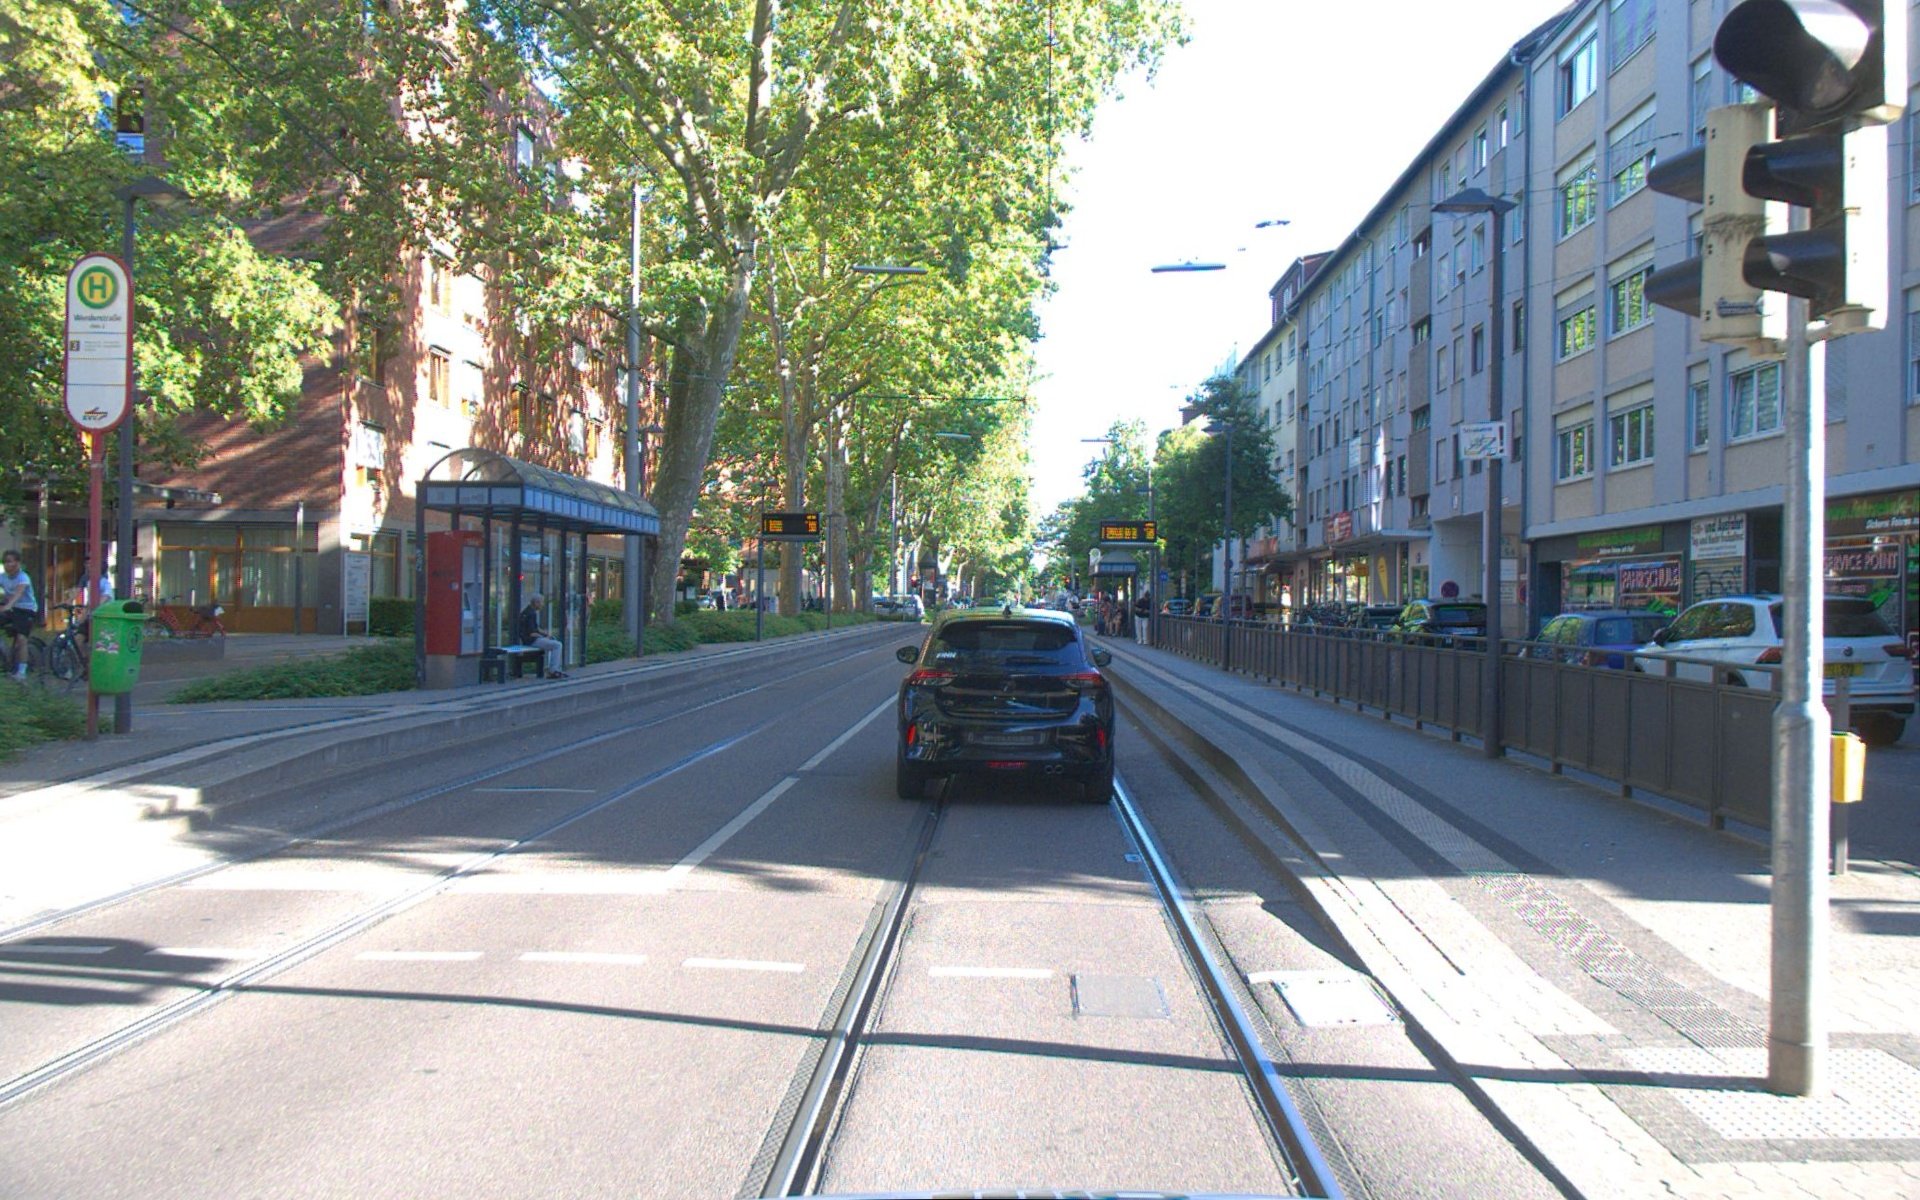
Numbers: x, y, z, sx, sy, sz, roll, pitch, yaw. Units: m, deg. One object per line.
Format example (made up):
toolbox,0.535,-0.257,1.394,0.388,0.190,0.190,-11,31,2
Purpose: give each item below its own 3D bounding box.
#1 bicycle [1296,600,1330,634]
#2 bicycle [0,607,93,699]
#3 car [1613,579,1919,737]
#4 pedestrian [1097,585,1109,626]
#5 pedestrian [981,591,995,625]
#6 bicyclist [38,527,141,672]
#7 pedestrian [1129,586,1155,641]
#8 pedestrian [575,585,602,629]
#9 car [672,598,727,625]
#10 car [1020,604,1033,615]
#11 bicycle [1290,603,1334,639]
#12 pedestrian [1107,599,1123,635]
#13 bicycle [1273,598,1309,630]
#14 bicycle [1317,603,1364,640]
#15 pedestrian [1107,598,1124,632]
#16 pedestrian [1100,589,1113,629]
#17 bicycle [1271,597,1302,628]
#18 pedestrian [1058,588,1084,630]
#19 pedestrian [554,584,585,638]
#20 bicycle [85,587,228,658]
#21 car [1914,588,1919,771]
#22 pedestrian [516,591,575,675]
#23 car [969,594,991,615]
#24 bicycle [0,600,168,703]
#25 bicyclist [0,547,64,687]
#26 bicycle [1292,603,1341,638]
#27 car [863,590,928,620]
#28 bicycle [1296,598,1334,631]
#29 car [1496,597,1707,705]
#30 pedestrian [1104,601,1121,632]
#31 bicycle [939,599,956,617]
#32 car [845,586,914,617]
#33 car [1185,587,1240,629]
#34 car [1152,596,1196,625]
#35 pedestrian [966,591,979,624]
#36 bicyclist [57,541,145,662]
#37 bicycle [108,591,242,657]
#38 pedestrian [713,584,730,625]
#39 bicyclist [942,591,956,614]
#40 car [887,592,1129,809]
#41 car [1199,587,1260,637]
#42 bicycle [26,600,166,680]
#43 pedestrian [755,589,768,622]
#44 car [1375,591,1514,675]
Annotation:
bicycle,12.618,0.605,59.192,0.402,1.156,2.199,2,-1,-9
bicycle,-12.353,0.662,21.517,0.766,1.130,2.595,2,-1,-1
car,9.528,0.636,19.823,1.762,1.634,4.416,2,-1,2
pedestrian,6.402,0.242,74.094,0.520,1.793,0.661,2,-1,4
pedestrian,1.783,0.502,103.958,0.661,2.048,0.702,3,0,14
bicyclist,-11.156,-0.004,21.219,0.766,1.794,0.951,2,-1,-1
pedestrian,5.481,0.401,49.808,0.618,1.603,0.871,3,0,2
pedestrian,-14.333,0.273,63.809,0.758,1.633,0.946,2,-1,2
car,-21.593,0.949,137.059,4.162,2.049,2.000,2,-1,2
car,10.021,1.415,249.625,1.709,1.571,4.000,2,-1,0
bicycle,11.888,0.696,55.878,0.591,1.156,2.429,2,-1,-9
pedestrian,5.794,0.653,61.877,0.492,1.327,0.428,2,-1,-2
bicycle,12.286,0.521,61.439,0.586,1.156,2.199,2,-1,-9
bicycle,12.272,0.694,53.420,0.610,1.156,2.434,2,-1,-9
pedestrian,5.704,0.555,60.645,0.523,1.252,0.510,2,-1,-2
pedestrian,6.455,0.401,72.852,0.520,1.739,0.752,2,-1,4
bicycle,12.372,0.483,62.791,0.585,1.156,2.202,2,-1,-4
pedestrian,4.631,0.383,68.800,0.737,1.739,0.760,1,-1,36
pedestrian,-12.404,0.356,52.576,0.720,1.701,0.861,2,-1,2
bicycle,-15.590,0.432,32.115,2.407,1.240,0.682,3,-1,2
car,9.536,0.687,12.704,1.952,1.644,4.446,0,-1,2
pedestrian,-6.025,0.477,24.060,0.691,1.189,0.659,0,-1,-1
car,1.591,0.381,131.457,1.709,1.571,4.000,2,-1,0
bicycle,-11.182,0.631,21.227,0.766,1.212,2.595,2,-1,-1
bicyclist,-12.348,0.215,21.529,0.758,1.780,0.997,2,-1,0
bicycle,12.305,0.685,57.165,0.600,1.156,2.915,2,-1,-9
car,-4.385,0.374,111.858,4.299,1.884,1.998,2,-1,-5
bicycle,12.946,0.532,60.407,0.586,1.156,2.199,2,-1,-9
car,9.722,0.742,25.424,1.707,1.465,4.248,2,-1,2
pedestrian,5.650,0.621,61.216,0.523,1.119,0.550,2,-1,-2
bicycle,-0.912,0.596,122.144,0.935,1.262,2.979,2,-1,5
car,-4.887,0.121,99.998,4.034,1.730,1.881,2,-1,-5
car,11.689,0.395,76.743,1.952,1.829,4.000,2,-1,1
car,11.498,0.570,88.893,1.952,1.512,4.001,2,-1,2
pedestrian,0.792,0.464,104.134,0.661,2.048,0.702,3,0,8
bicyclist,-13.064,0.031,25.193,0.758,1.780,0.997,2,-1,0
bicycle,-15.505,0.476,32.701,2.292,1.186,0.682,2,-1,2
pedestrian,-11.862,0.227,82.281,0.493,1.984,0.664,2,-1,-40
bicyclist,-0.820,0.198,123.047,0.921,1.732,1.153,2,-1,5
car,0.342,0.734,13.658,1.724,1.534,3.682,0,-1,0
car,11.383,0.499,70.010,1.952,1.986,4.000,2,-1,1
bicycle,-13.072,0.588,25.132,0.766,1.130,2.595,2,-1,-1
pedestrian,-12.185,0.331,101.568,0.658,1.984,0.498,3,0,-1
car,10.381,0.684,35.731,1.818,1.644,4.398,2,-1,2
